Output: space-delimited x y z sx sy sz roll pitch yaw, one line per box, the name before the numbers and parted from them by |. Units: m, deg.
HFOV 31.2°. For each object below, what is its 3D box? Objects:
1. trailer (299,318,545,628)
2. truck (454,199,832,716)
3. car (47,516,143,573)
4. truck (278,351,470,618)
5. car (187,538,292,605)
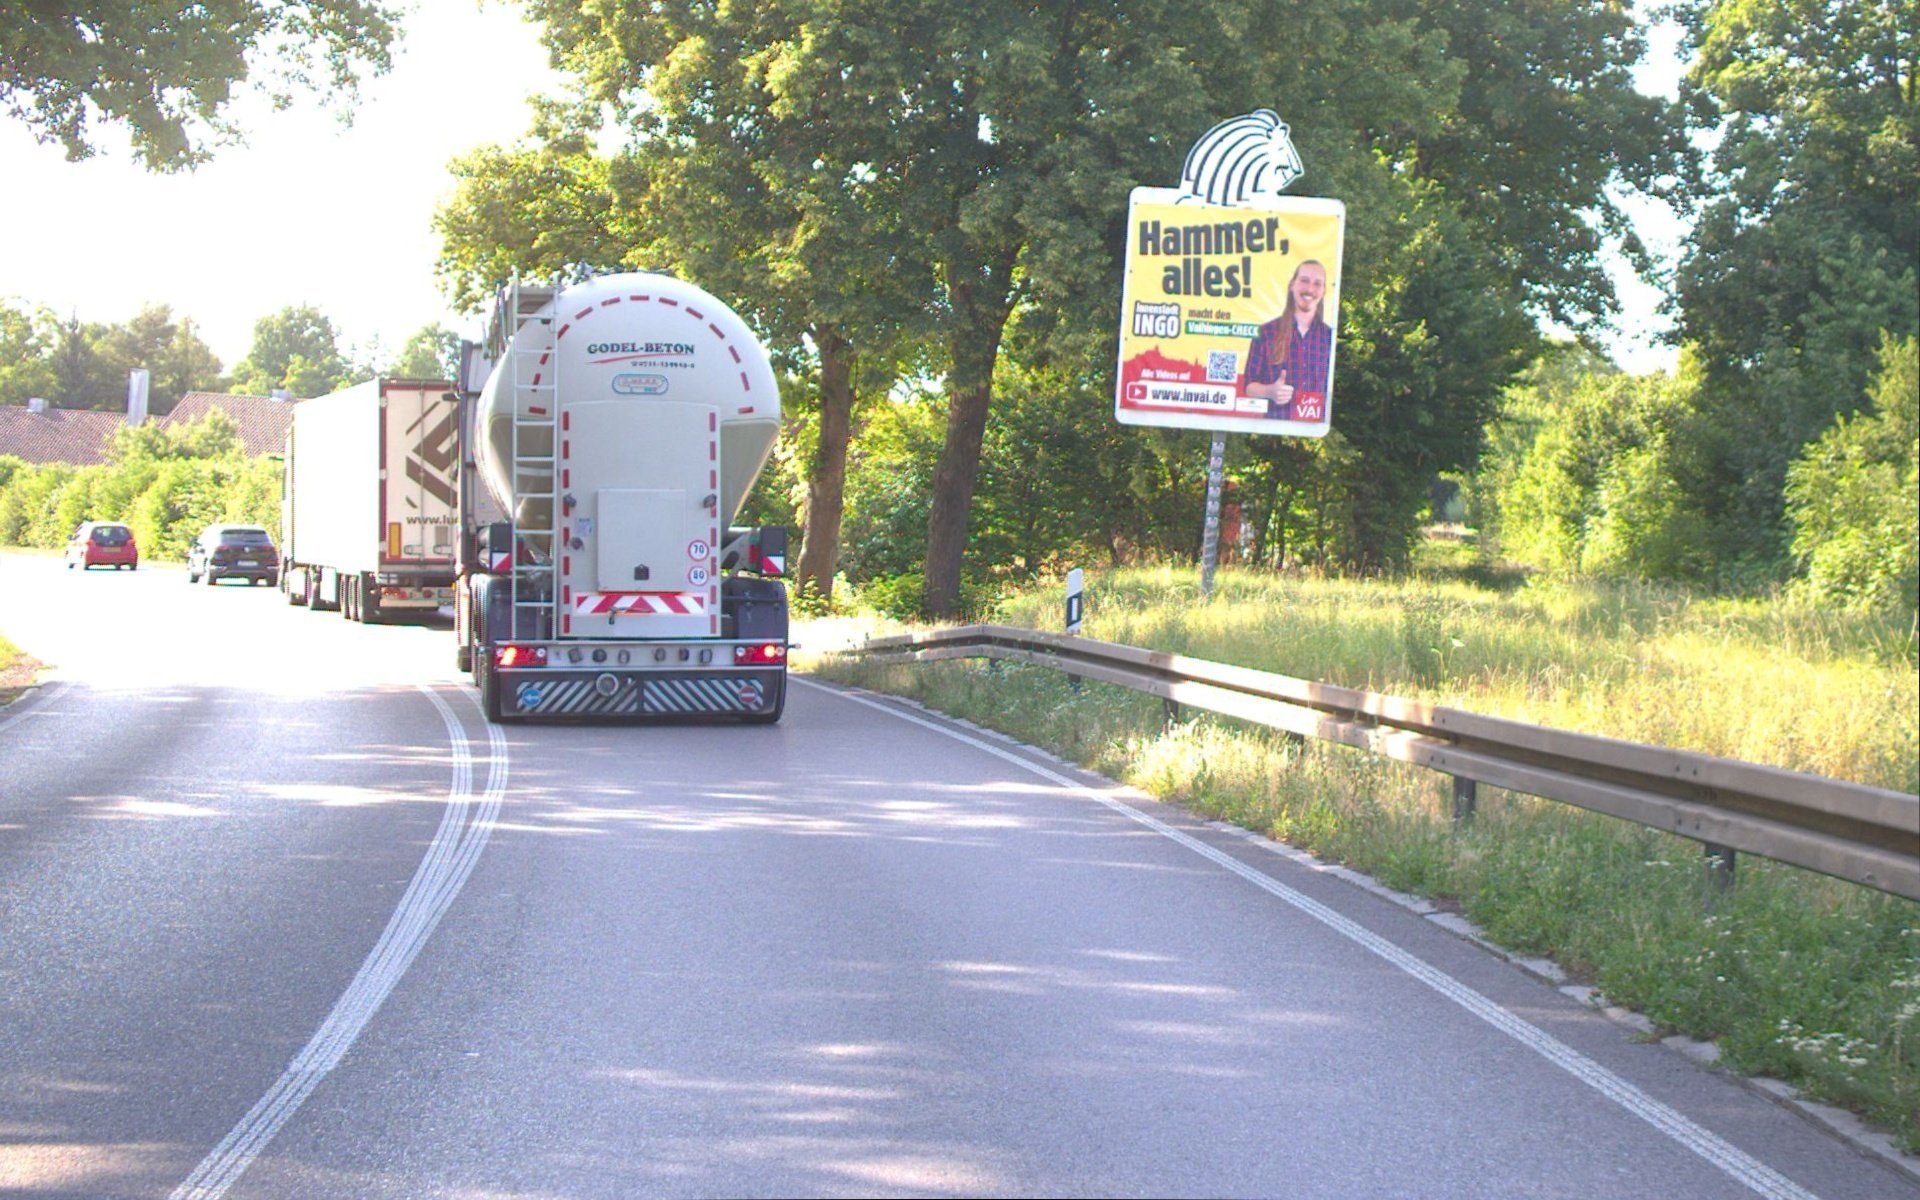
trailer | -9.490 -2.072 59.588 2.963 4.865 10.291 1 1 -16
truck | -3.427 -1.223 33.880 2.975 4.161 11.665 1 1 -9
car | -26.284 -1.692 104.354 2.299 1.650 4.416 1 1 -21
truck | -11.450 -2.173 66.721 2.962 4.869 6.432 1 0 -16
car | -18.496 -0.739 88.138 1.993 1.650 4.001 1 1 -21
